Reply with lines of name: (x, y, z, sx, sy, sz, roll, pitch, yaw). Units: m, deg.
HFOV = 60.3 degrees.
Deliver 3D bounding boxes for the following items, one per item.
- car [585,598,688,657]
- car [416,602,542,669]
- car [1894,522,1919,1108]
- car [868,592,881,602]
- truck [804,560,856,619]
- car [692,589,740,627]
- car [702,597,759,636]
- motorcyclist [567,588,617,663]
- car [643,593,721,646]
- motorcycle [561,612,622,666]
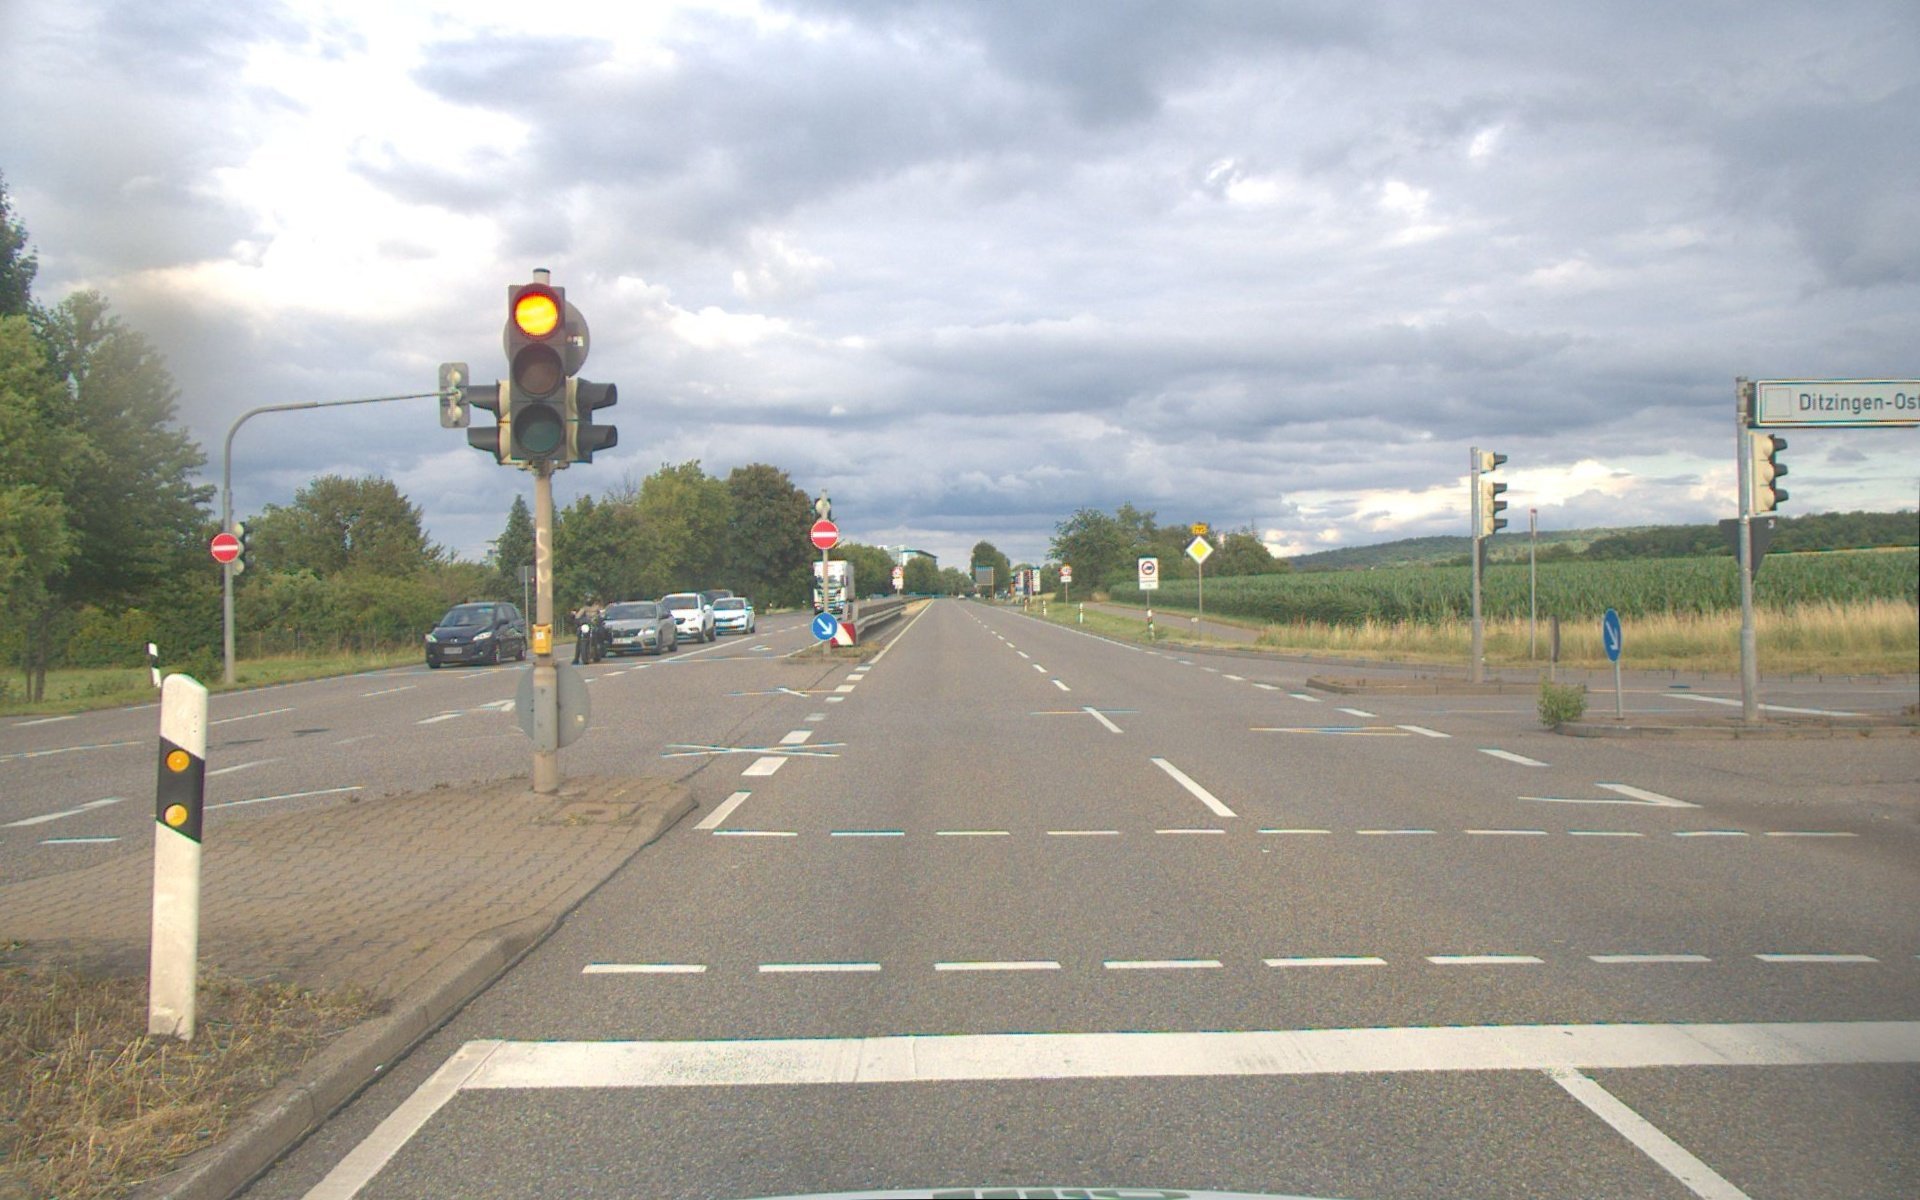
car: (-8.866, 0.710, 45.776, 1.869, 1.453, 5.151, -2, 0, -1)
car: (-12.486, 0.874, 43.260, 1.869, 1.562, 4.938, -2, 0, -1)
car: (3.715, 0.642, 2.652, 1.807, 1.678, 4.480, 1, 0, -1)
car: (-12.494, -0.382, 241.278, 1.752, 1.410, 4.159, -2, 0, -1)
truck: (-9.837, -0.780, 125.798, 3.404, 4.222, 6.048, -3, 0, -1)
car: (-13.815, 0.440, 94.005, 1.953, 2.049, 4.946, -2, 0, 0)
car: (-9.239, 0.641, 66.871, 1.752, 1.469, 4.159, -2, 0, -1)
motorcyclist: (-8.940, 0.612, 40.221, 0.897, 1.738, 1.276, -2, 0, 0)
car: (-9.177, 0.601, 54.923, 1.869, 1.638, 4.404, -2, 0, -1)
motorcycle: (-8.939, 0.935, 40.221, 0.897, 1.224, 2.478, -2, 0, 0)
